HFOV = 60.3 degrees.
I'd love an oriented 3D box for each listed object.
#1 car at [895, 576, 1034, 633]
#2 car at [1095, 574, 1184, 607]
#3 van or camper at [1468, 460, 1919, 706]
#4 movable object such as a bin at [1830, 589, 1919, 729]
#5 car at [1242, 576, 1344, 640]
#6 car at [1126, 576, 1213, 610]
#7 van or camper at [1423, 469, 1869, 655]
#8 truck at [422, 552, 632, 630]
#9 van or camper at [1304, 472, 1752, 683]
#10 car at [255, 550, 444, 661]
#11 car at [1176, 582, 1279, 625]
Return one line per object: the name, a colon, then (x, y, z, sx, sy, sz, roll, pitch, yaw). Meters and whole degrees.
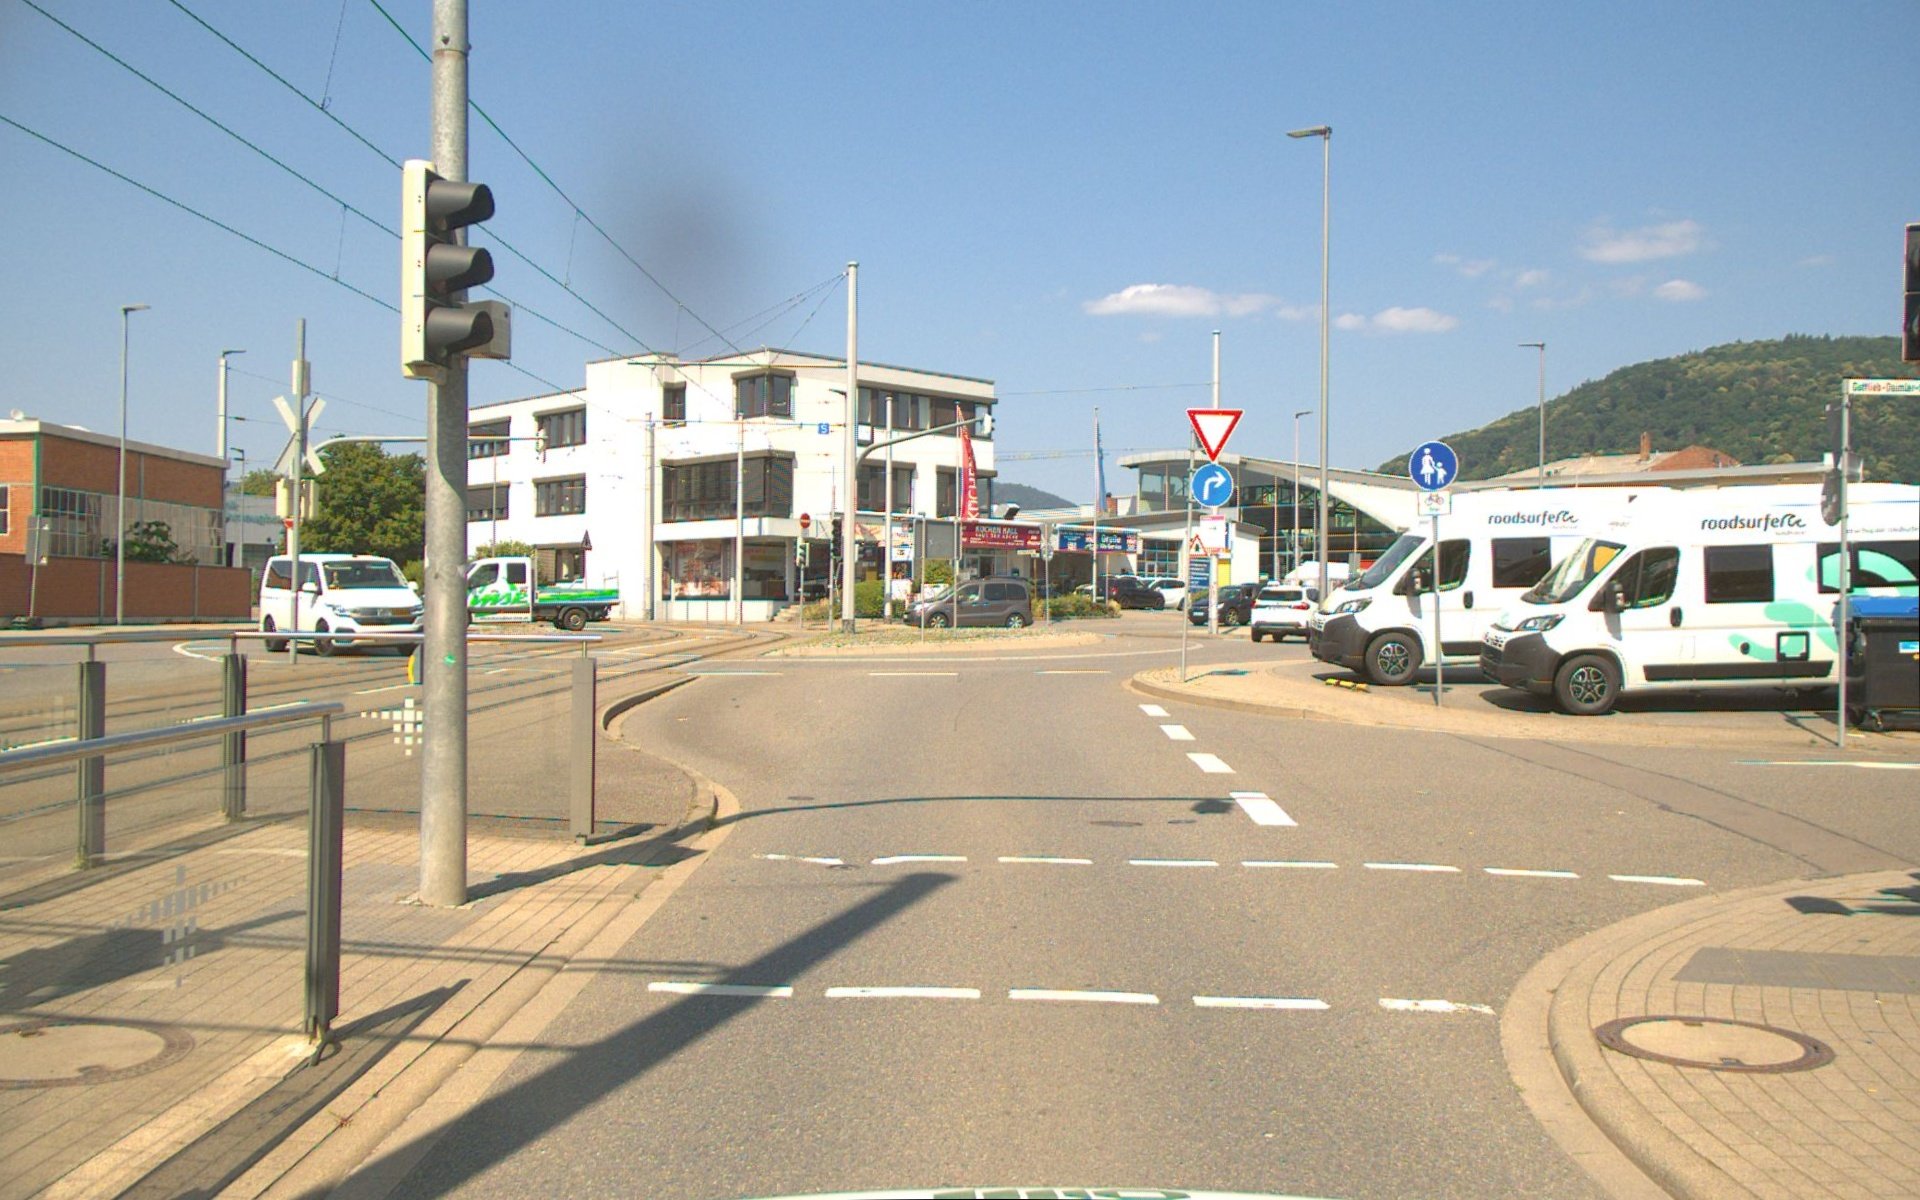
car: (0.147, 0.142, 55.582, 4.323, 1.850, 1.981, 0, 0, -16)
car: (8.372, -0.445, 77.048, 1.997, 1.452, 4.290, 1, 1, 43)
van or camper: (9.335, -0.253, 20.618, 5.390, 2.863, 2.049, 1, 2, 4)
movable object such as a bin: (10.542, 0.638, 18.441, 1.226, 1.482, 1.080, 0, 2, 12)
car: (9.720, 0.216, 48.007, 1.954, 1.763, 4.562, 0, 0, 24)
car: (10.657, -0.327, 83.786, 1.854, 1.616, 4.896, -2, -1, 43)
van or camper: (12.056, -0.650, 29.447, 6.916, 2.998, 2.335, -2, 0, 0)
truck: (-13.815, -0.288, 52.808, 6.282, 2.378, 2.194, 0, 0, -23)
van or camper: (7.936, -0.322, 23.565, 5.689, 2.822, 2.092, 0, 1, 3)
car: (-12.354, 0.074, 33.264, 2.148, 2.049, 4.948, 0, 0, -39)
car: (10.137, 0.114, 62.514, 1.934, 1.583, 4.217, 1, 0, 42)
